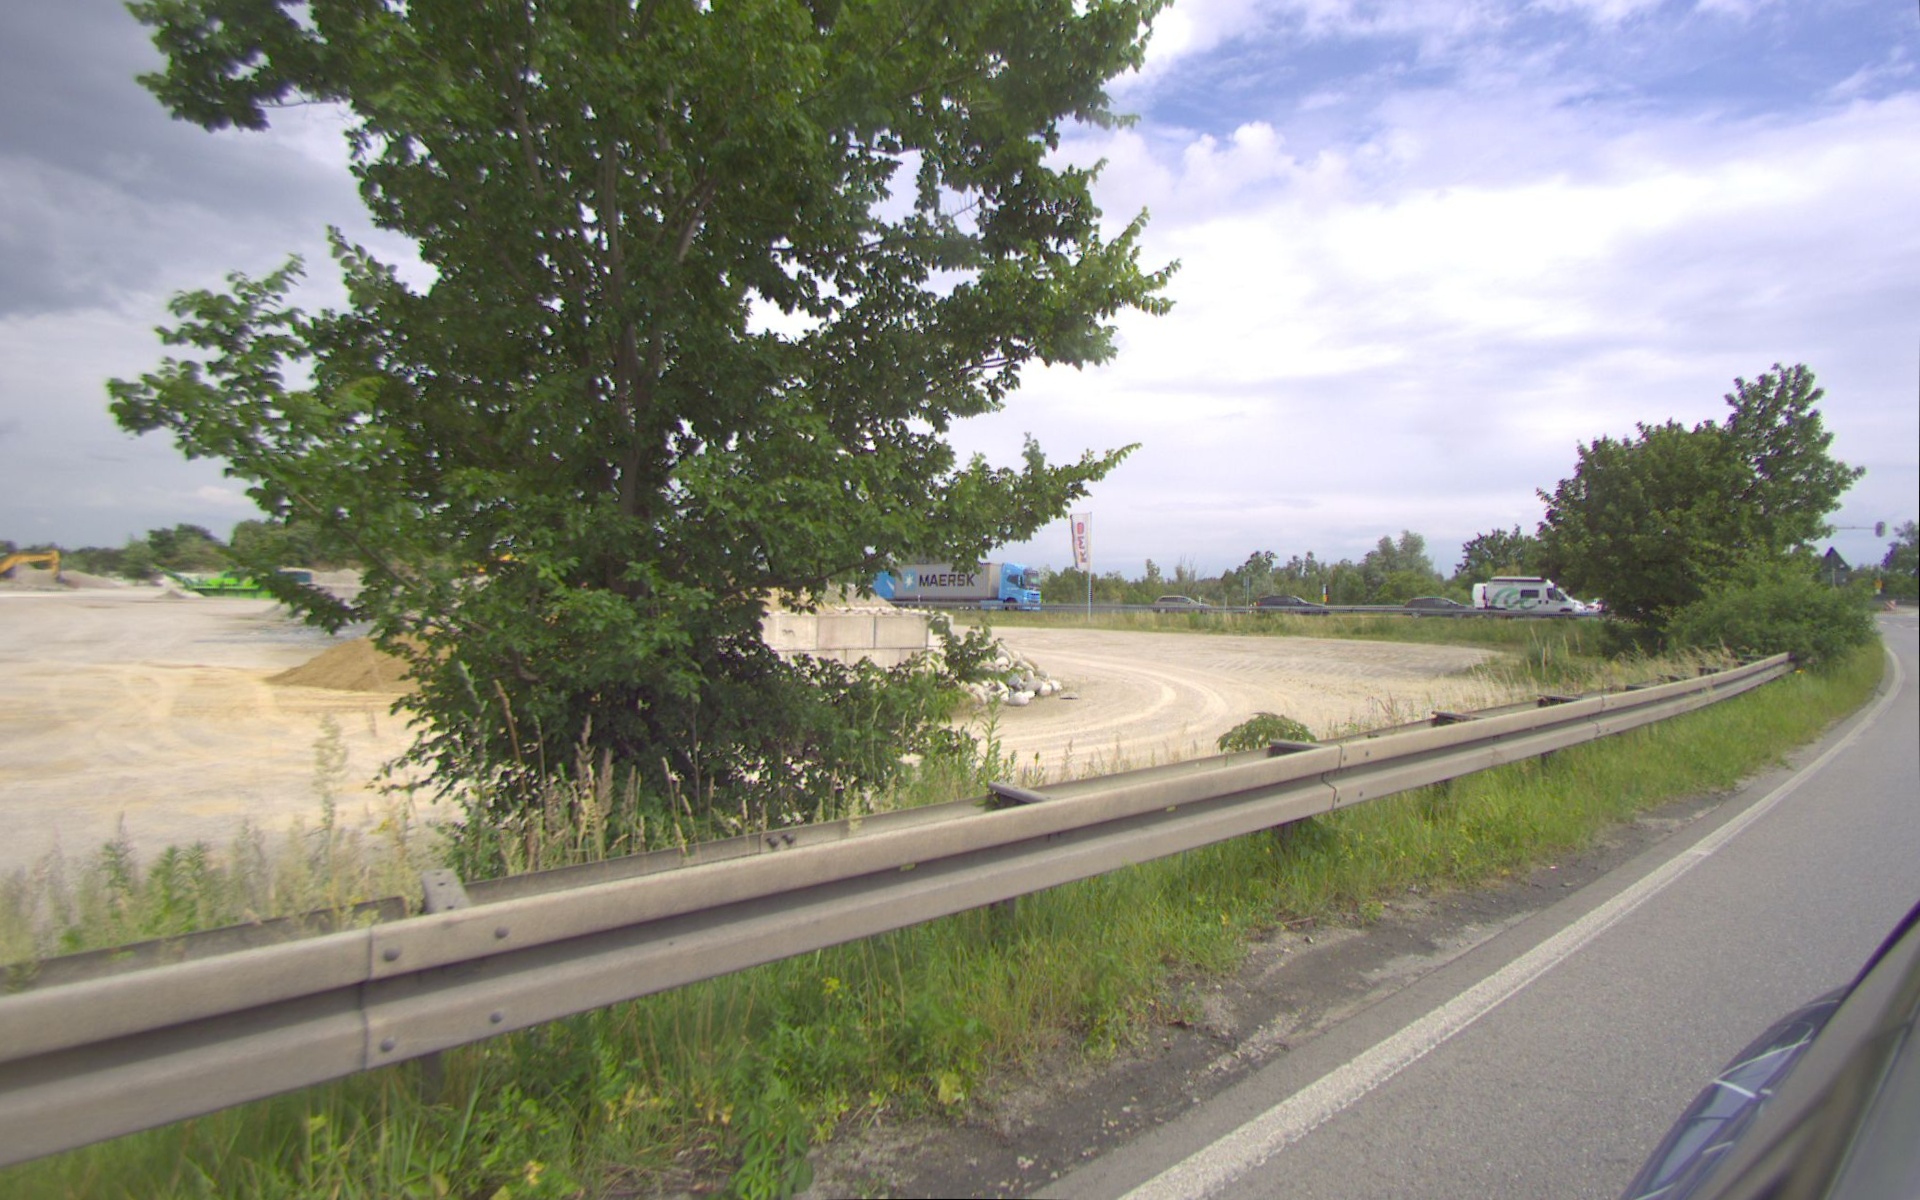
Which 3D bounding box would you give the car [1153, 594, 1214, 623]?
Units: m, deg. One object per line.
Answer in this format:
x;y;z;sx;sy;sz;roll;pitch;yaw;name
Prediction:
16.376;0.626;74.177;3.973;2.039;1.907;1;0;35;car

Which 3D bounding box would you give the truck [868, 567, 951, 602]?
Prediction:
-5.076;-1.380;98.708;2.346;3.093;11.759;1;-1;-34;truck

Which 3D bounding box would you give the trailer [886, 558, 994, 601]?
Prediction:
-1.885;-1.666;87.518;2.352;3.352;11.200;1;-1;-44;trailer

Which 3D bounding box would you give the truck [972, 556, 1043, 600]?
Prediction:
3.822;-1.719;81.999;5.570;3.347;2.357;-1;-1;40;truck

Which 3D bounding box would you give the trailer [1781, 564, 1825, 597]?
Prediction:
119.717;-2.687;143.845;3.472;4.571;10.814;-1;0;33;trailer

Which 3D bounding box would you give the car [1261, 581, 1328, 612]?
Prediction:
23.001;-0.241;69.571;3.973;2.039;1.907;1;0;35;car

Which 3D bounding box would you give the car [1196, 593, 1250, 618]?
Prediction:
21.935;0.461;84.438;3.973;2.039;1.907;0;-1;35;car

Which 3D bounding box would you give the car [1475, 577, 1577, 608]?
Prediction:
38.176;-0.491;68.357;5.857;2.039;2.035;0;-1;35;car

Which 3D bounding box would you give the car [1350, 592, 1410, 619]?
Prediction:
32.135;0.396;77.420;3.973;2.039;1.907;0;-1;35;car

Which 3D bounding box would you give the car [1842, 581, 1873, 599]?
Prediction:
105.690;-1.130;119.209;1.983;2.039;3.957;-1;0;30;car

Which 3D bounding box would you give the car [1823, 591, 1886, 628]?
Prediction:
40.953;0.444;46.412;2.012;1.633;4.218;0;-1;40;car

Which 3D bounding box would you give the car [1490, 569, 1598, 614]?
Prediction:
35.331;-0.508;61.263;5.390;2.600;2.426;1;0;38;car

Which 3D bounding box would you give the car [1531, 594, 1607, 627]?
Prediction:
38.643;0.648;64.269;3.977;2.039;1.973;0;0;37;car
